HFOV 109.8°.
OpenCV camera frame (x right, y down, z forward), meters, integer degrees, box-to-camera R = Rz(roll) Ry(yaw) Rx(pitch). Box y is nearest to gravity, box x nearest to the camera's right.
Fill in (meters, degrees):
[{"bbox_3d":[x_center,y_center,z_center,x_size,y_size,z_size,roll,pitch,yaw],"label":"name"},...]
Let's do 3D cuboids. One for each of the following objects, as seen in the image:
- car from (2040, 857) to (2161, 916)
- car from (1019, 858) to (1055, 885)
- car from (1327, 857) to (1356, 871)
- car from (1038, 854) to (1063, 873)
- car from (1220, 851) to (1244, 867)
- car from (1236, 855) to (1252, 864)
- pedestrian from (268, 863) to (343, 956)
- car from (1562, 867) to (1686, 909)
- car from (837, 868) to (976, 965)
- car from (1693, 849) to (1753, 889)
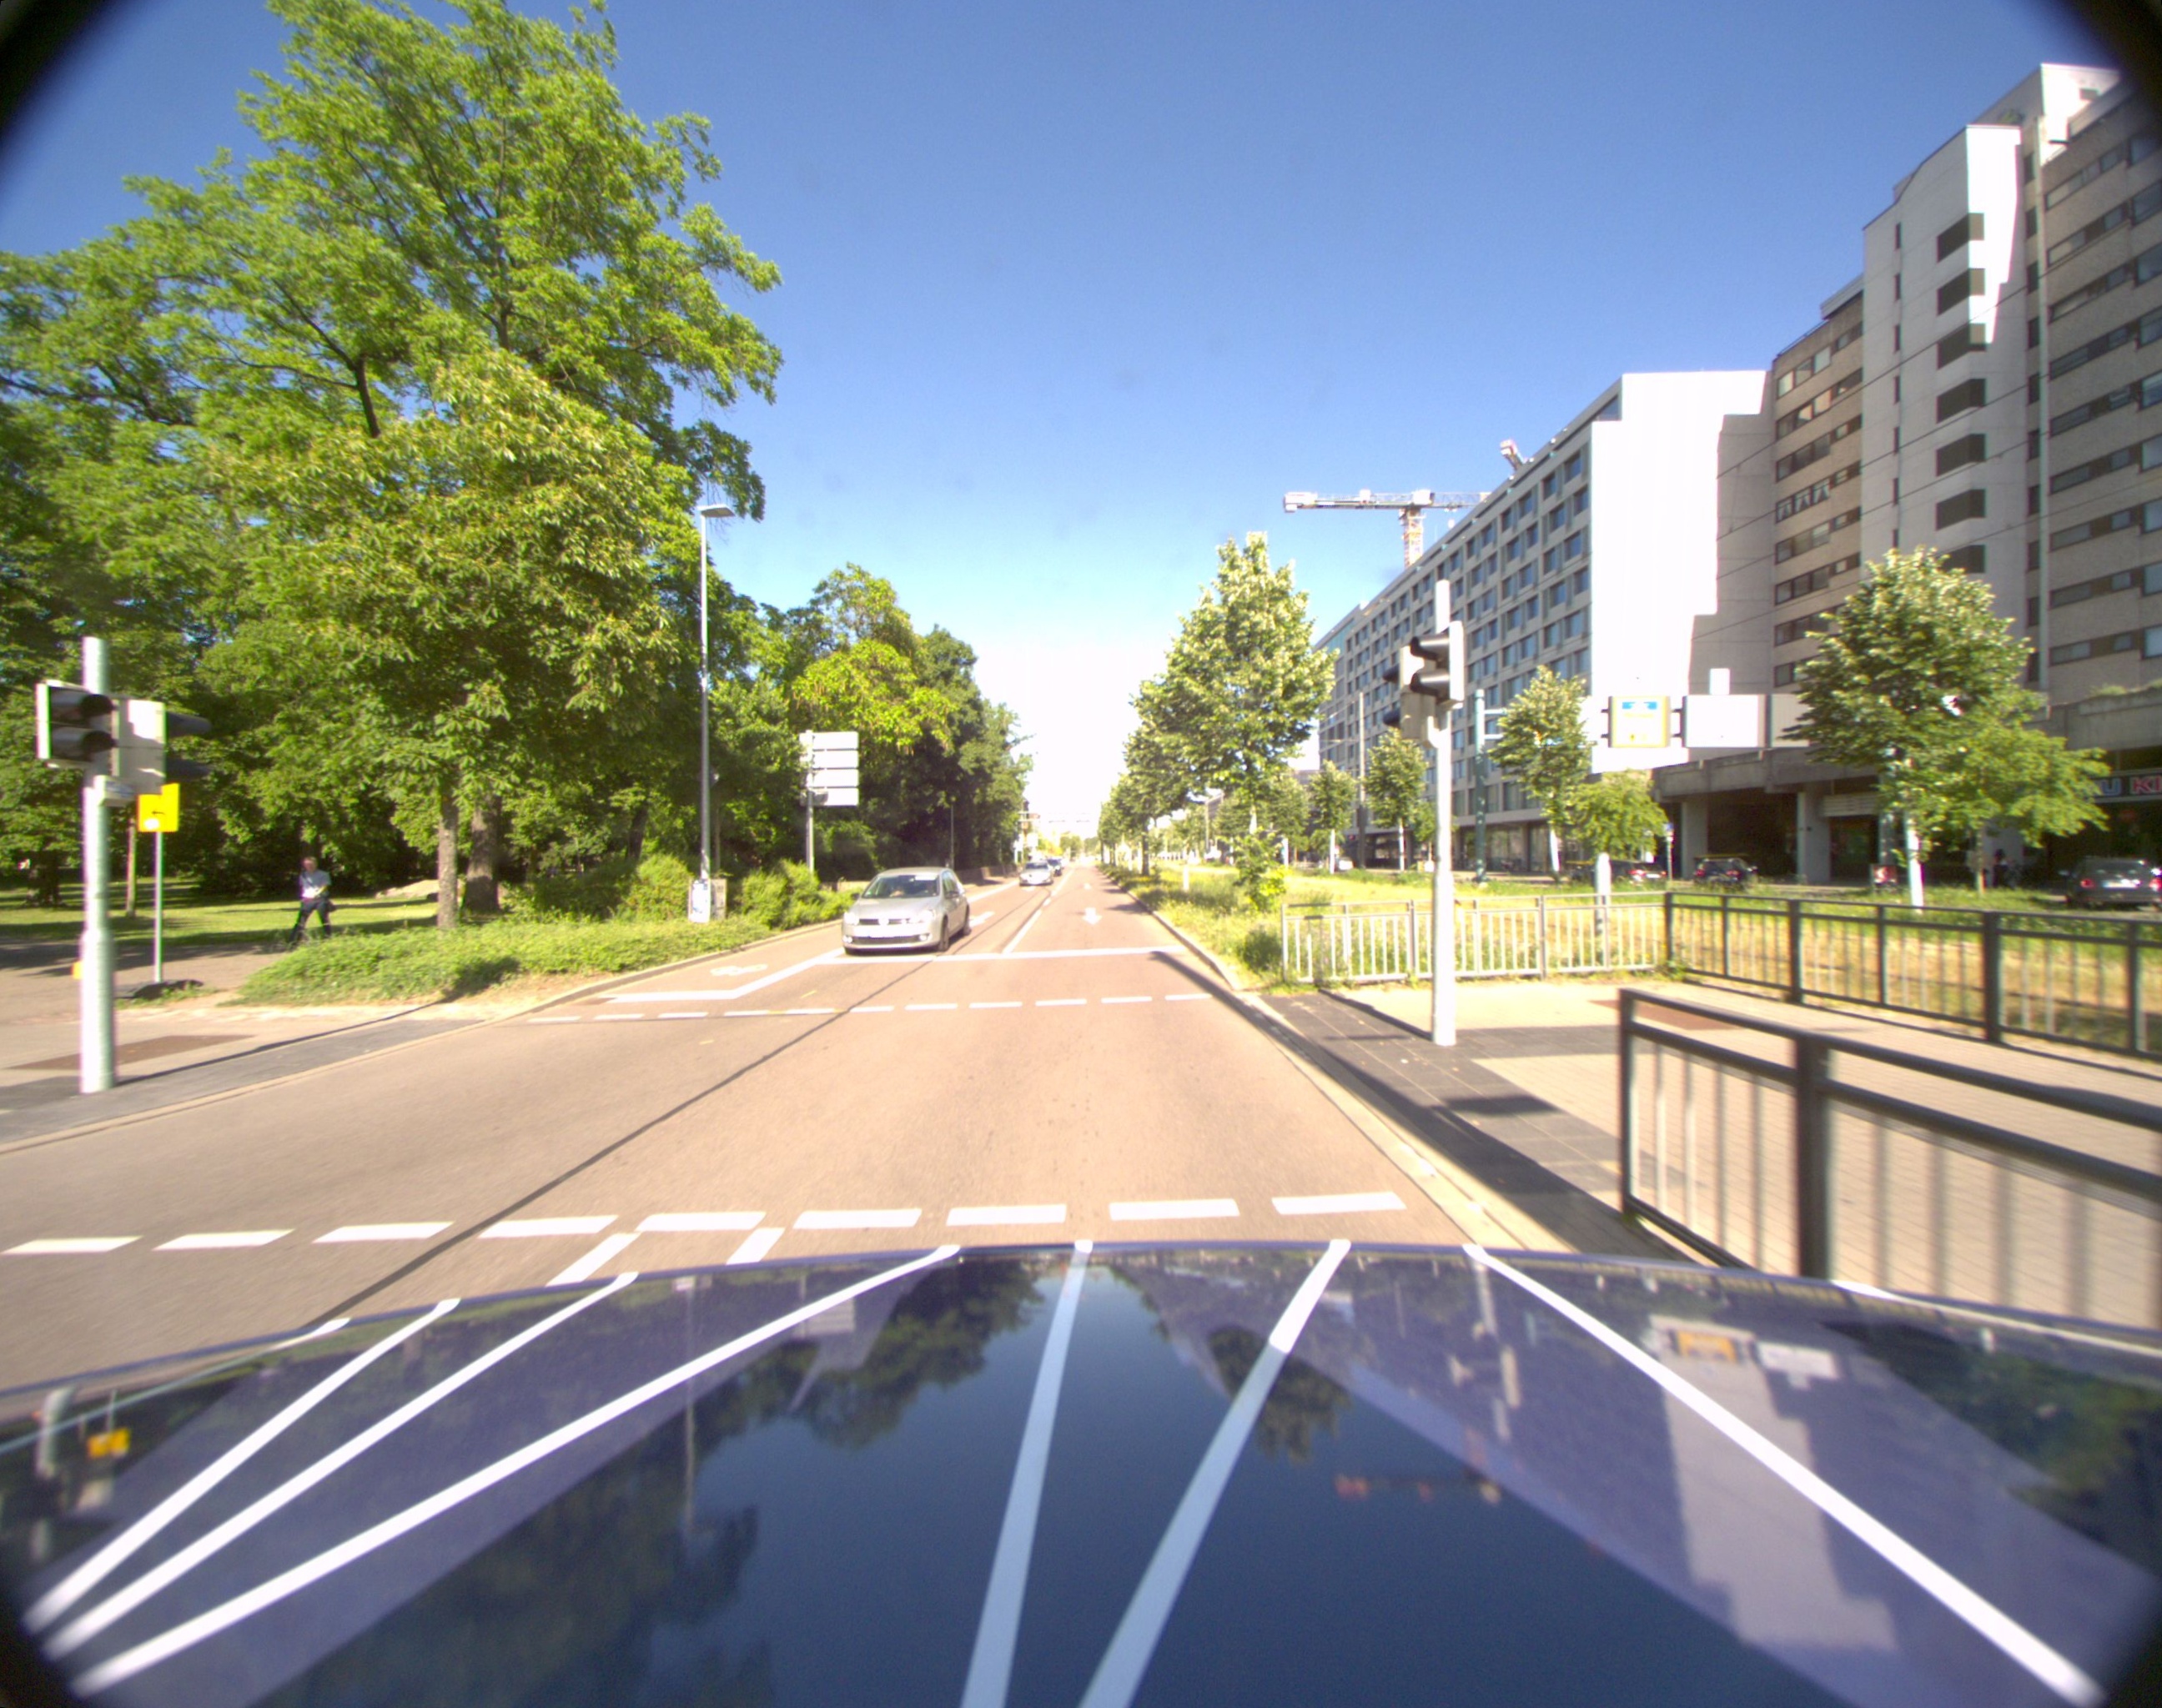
[{"bbox_3d":[30.003,0.889,22.338,1.712,1.511,4.008,-1,0,44],"label":"car"},{"bbox_3d":[-2.490,0.996,44.182,1.839,1.415,3.999,-2,0,0],"label":"car"},{"bbox_3d":[28.801,1.087,84.082,1.865,1.541,3.773,-2,0,0],"label":"car"},{"bbox_3d":[-2.568,0.793,63.149,1.999,1.493,3.999,0,0,-2],"label":"car"},{"bbox_3d":[18.033,0.573,90.898,1.998,1.808,4.286,-2,0,1],"label":"car"},{"bbox_3d":[27.184,0.912,126.573,1.827,1.499,3.813,-2,0,0],"label":"car"},{"bbox_3d":[-14.844,1.032,14.572,0.739,1.692,0.873,-2,1,-29],"label":"pedestrian"},{"bbox_3d":[23.136,1.397,32.608,1.999,1.569,4.506,-2,0,-1],"label":"car"},{"bbox_3d":[-3.126,1.058,14.444,1.703,1.465,3.999,-2,0,0],"label":"car"},{"bbox_3d":[29.191,0.651,34.507,1.791,1.674,4.008,-1,0,44],"label":"car"}]
